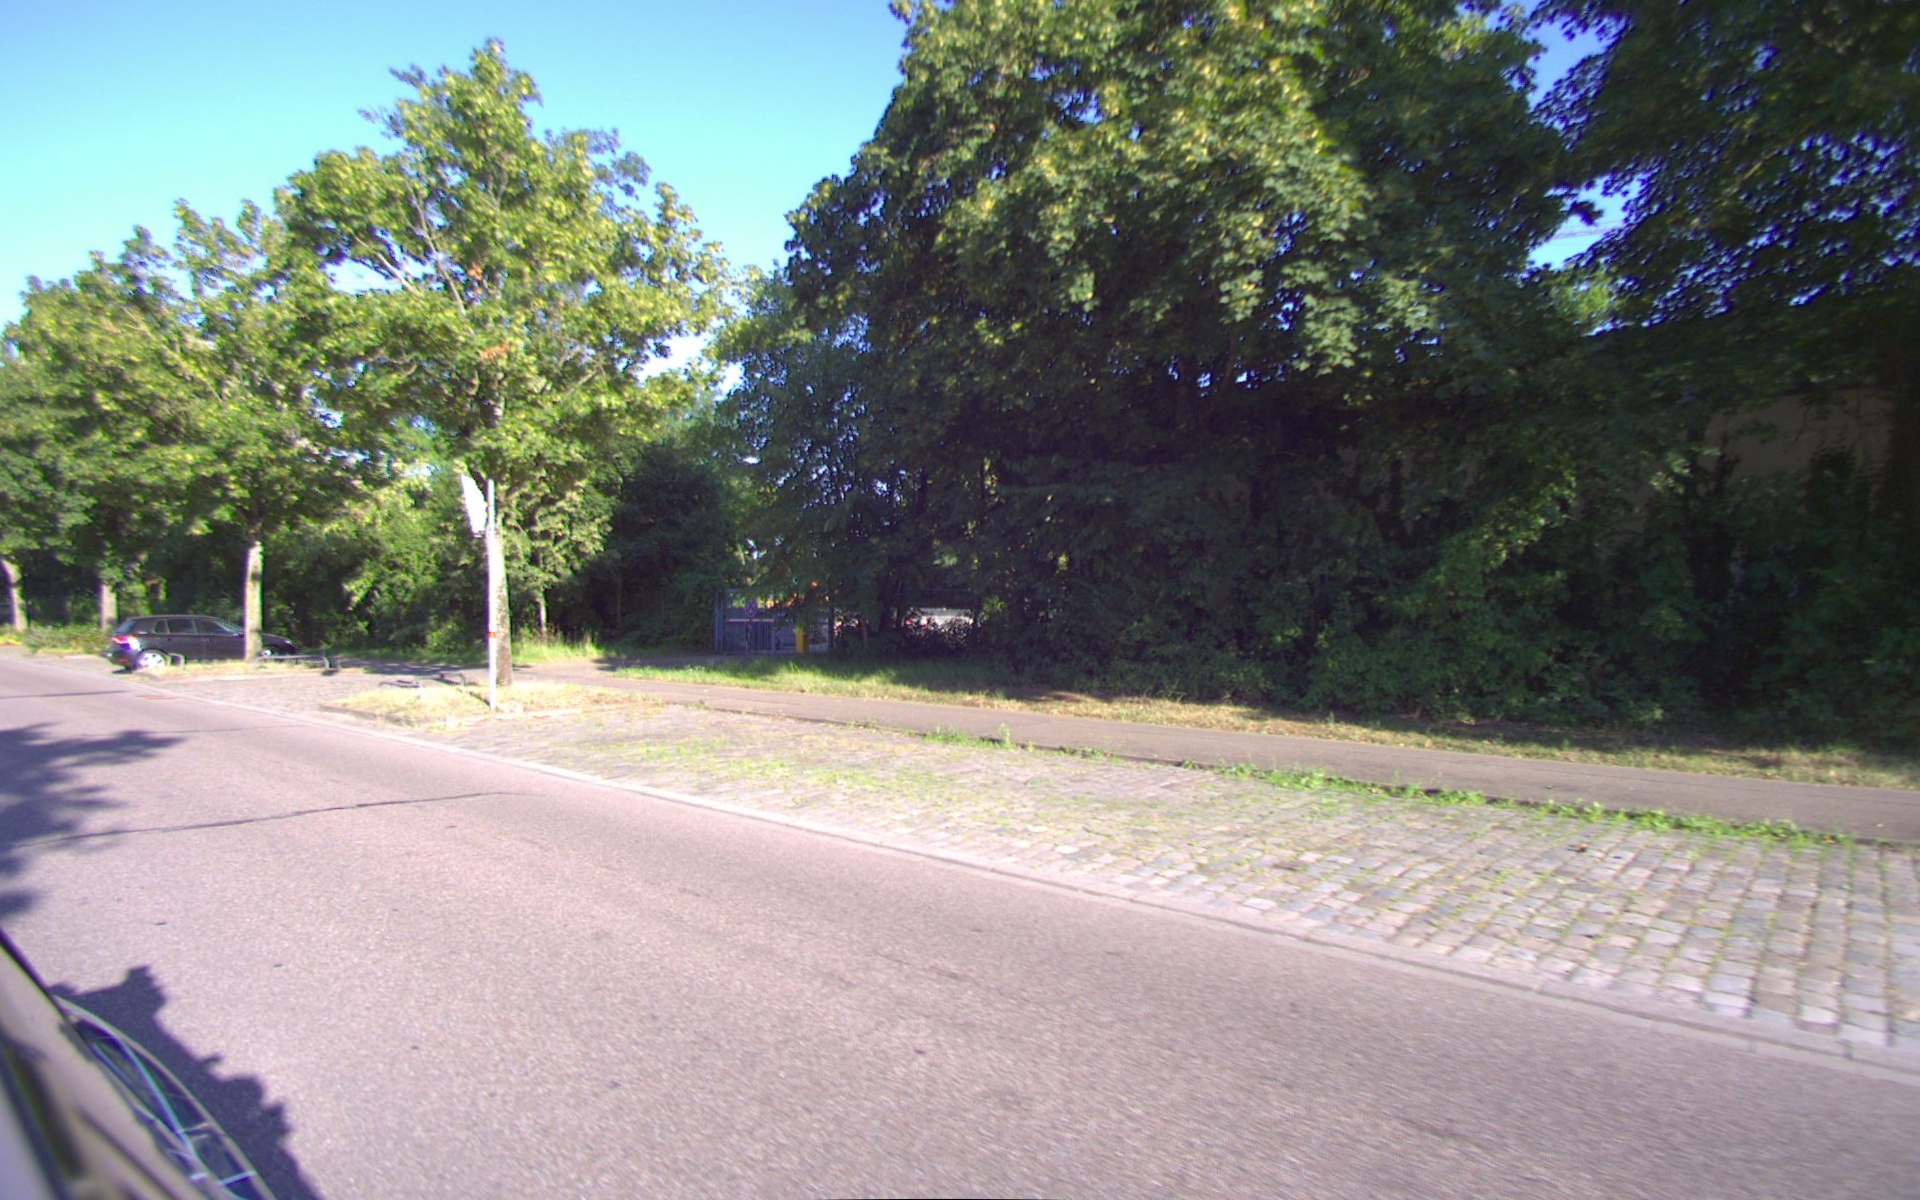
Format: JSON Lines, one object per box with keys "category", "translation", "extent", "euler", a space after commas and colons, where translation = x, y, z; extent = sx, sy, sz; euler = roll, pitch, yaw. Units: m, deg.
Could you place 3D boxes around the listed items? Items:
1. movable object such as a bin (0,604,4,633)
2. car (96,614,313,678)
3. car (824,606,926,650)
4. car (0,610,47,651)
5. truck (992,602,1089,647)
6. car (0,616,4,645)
{"category": "movable object such as a bin", "translation": [-89.925, 1.662, 91.436], "extent": [4.728, 2.685, 2.168], "euler": [1, -2, -8]}
{"category": "car", "translation": [-20.257, 1.167, 27.281], "extent": [1.997, 1.490, 4.317], "euler": [-1, 0, 38]}
{"category": "car", "translation": [-3.527, 1.164, 41.836], "extent": [3.994, 1.741, 1.890], "euler": [-1, -2, 38]}
{"category": "car", "translation": [-48.767, 1.508, 50.066], "extent": [2.169, 2.035, 4.963], "euler": [-1, -2, 34]}
{"category": "truck", "translation": [3.868, 1.191, 48.953], "extent": [4.315, 2.073, 2.032], "euler": [-2, -2, 41]}
{"category": "car", "translation": [-52.368, 1.653, 52.185], "extent": [1.701, 1.541, 4.177], "euler": [-1, 1, 34]}
